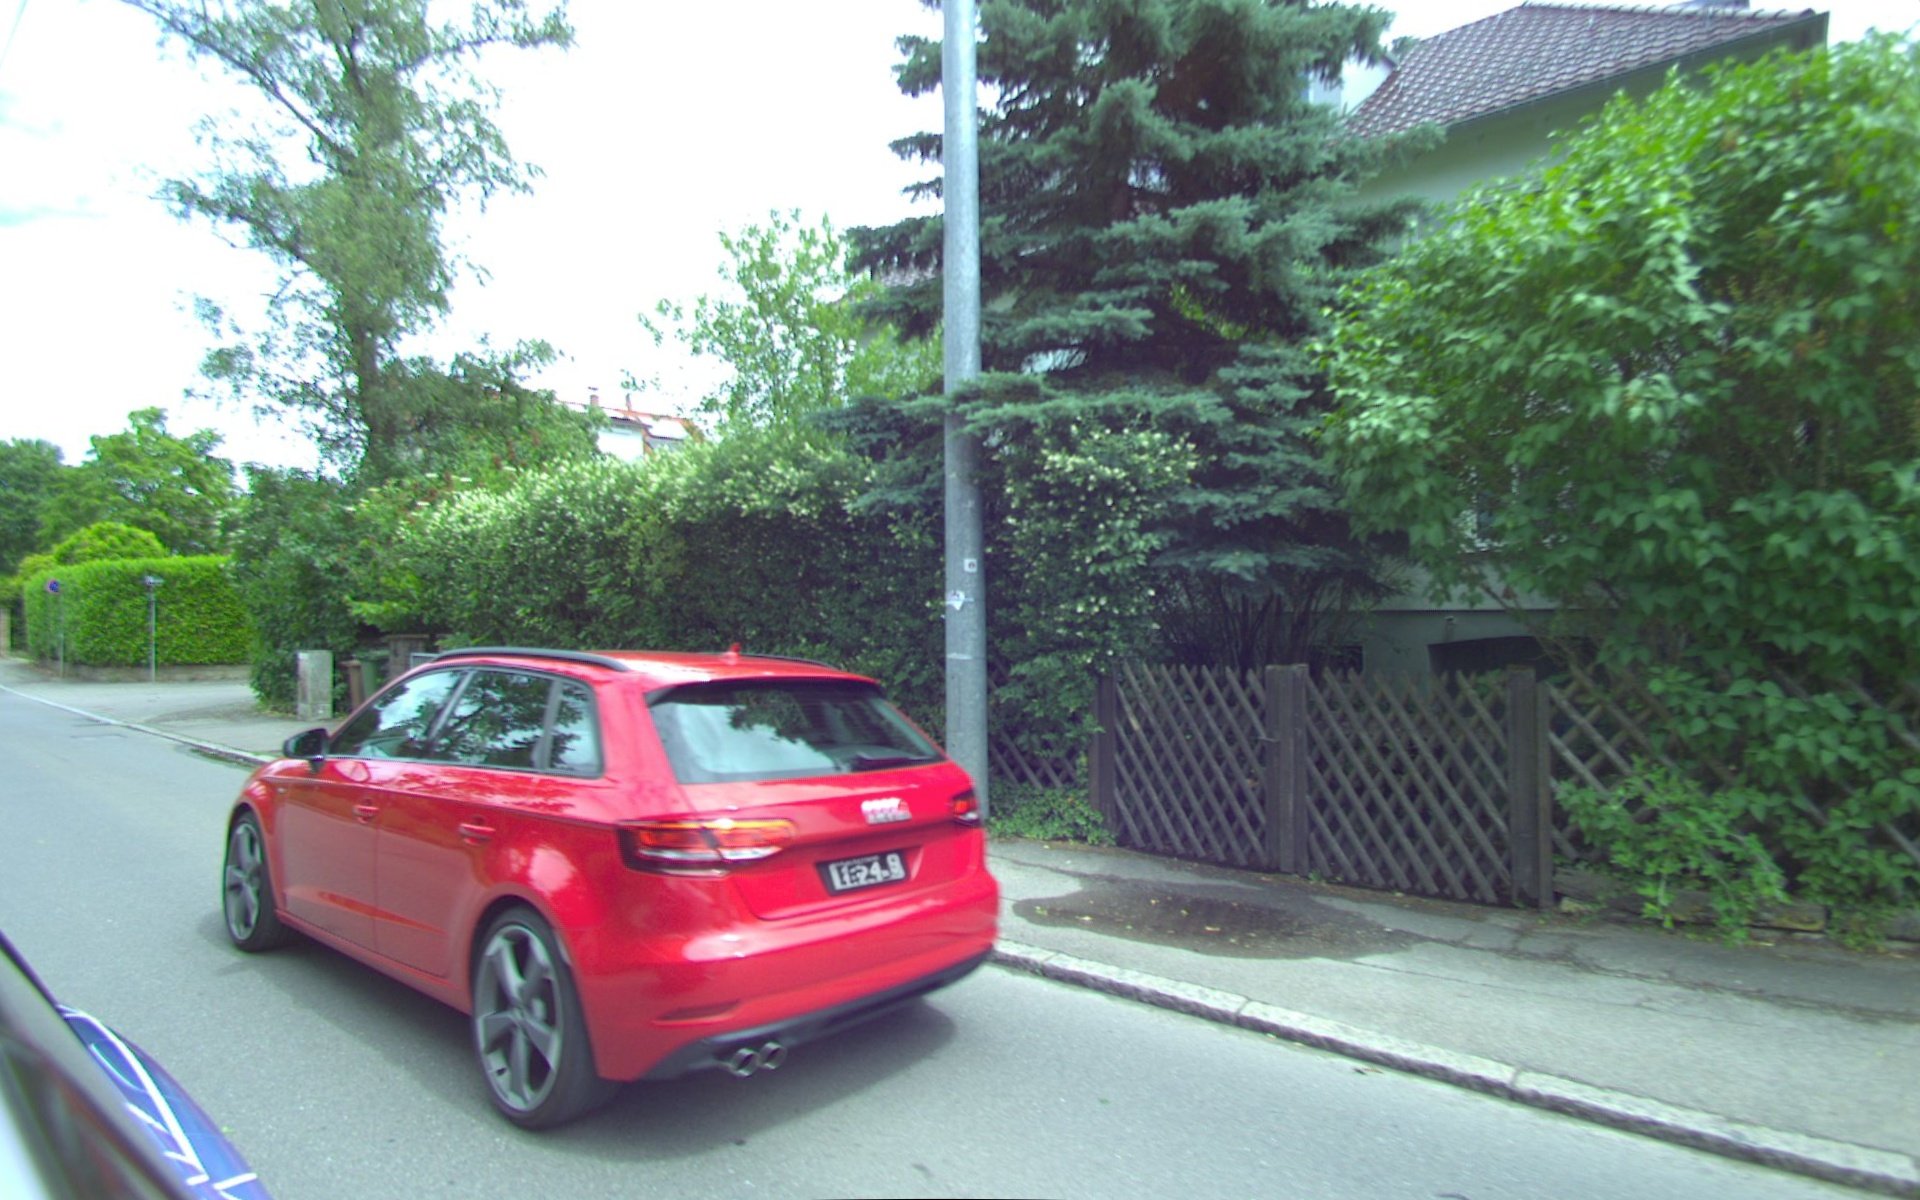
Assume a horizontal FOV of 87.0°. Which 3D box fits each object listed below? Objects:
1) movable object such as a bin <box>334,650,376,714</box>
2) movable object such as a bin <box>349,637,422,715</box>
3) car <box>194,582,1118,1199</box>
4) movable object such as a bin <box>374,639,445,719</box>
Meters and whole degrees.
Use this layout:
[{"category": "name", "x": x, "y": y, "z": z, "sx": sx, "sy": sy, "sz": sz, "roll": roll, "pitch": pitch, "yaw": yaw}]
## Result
[{"category": "movable object such as a bin", "x": -9.547, "y": 1.287, "z": 15.962, "sx": 0.511, "sy": 0.958, "sz": 0.375, "roll": -2, "pitch": 1, "yaw": 37}, {"category": "movable object such as a bin", "x": -8.923, "y": 1.162, "z": 15.730, "sx": 0.721, "sy": 1.134, "sz": 0.721, "roll": -2, "pitch": 1, "yaw": 37}, {"category": "car", "x": -1.568, "y": 0.775, "z": 4.366, "sx": 4.114, "sy": 1.442, "sz": 1.787, "roll": -2, "pitch": -5, "yaw": 39}, {"category": "movable object such as a bin", "x": -8.316, "y": 1.173, "z": 15.291, "sx": 0.584, "sy": 1.125, "sz": 0.721, "roll": -2, "pitch": 1, "yaw": 37}]
